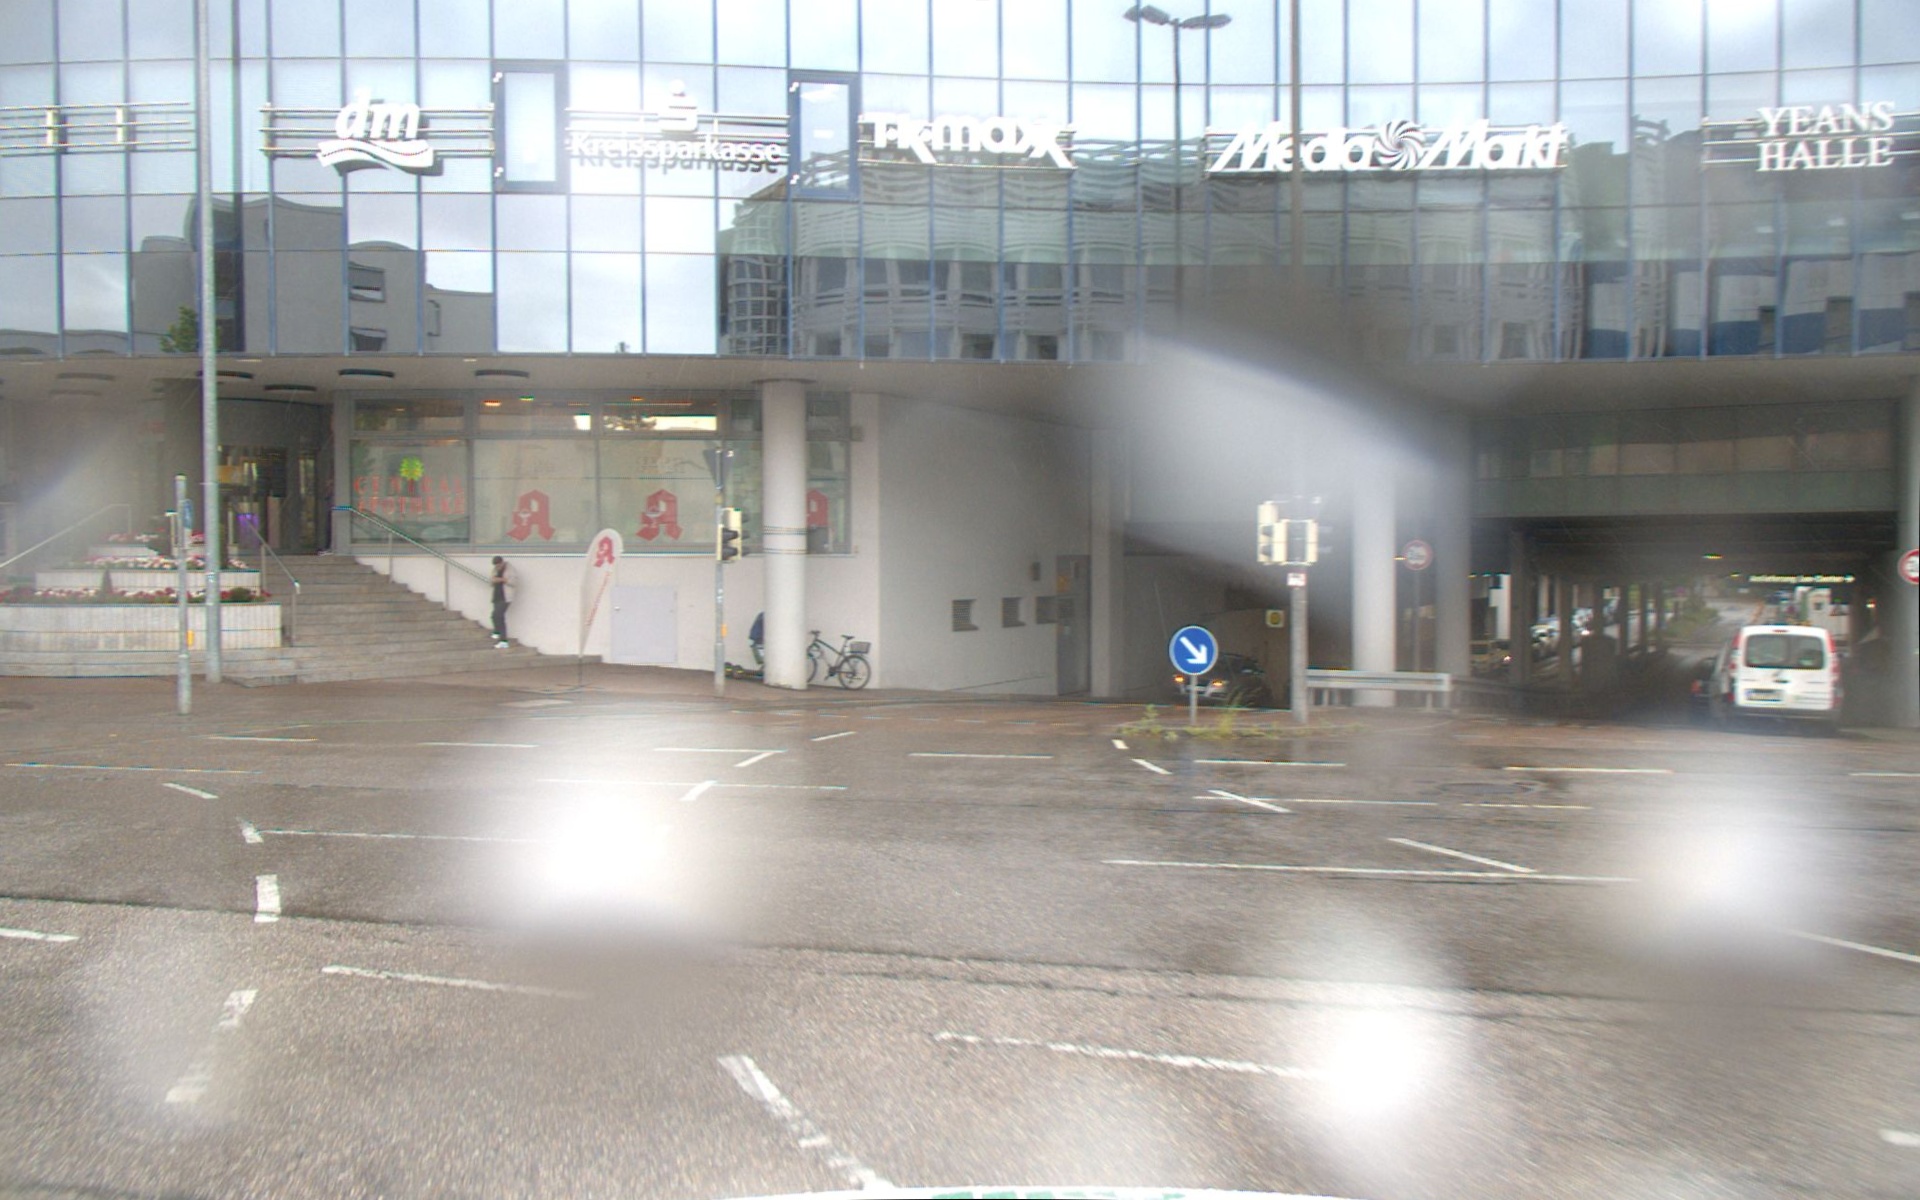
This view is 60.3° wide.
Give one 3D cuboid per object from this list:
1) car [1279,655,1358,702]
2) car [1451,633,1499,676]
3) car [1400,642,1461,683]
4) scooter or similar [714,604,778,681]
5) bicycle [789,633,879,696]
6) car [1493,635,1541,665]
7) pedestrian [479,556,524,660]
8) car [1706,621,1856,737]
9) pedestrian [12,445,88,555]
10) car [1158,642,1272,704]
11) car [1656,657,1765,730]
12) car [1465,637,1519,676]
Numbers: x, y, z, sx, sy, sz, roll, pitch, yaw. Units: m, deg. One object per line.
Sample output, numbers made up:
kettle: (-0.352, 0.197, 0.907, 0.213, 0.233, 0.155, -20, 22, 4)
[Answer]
car: (11.987, 2.588, 55.124, 1.735, 1.489, 3.872, -1, -2, 25)
car: (23.345, 2.449, 74.934, 1.798, 1.758, 4.000, 0, 0, 21)
car: (20.177, 2.656, 70.800, 1.877, 1.615, 3.936, -1, 0, 25)
scooter or similar: (-4.044, 0.800, 31.341, 1.143, 1.397, 0.489, 2, 1, -5)
bicycle: (-2.404, 1.225, 31.515, 1.559, 1.035, 0.449, 6, -1, -21)
car: (29.535, 2.628, 87.645, 1.954, 1.489, 3.997, -1, 0, 25)
pedestrian: (-8.625, 0.144, 31.117, 0.642, 1.941, 0.595, 1, 0, 2)
car: (14.040, 1.288, 28.498, 1.886, 1.829, 4.296, 0, -1, 21)
pedestrian: (-17.540, -1.921, 31.885, 0.812, 2.048, 0.953, 2, 1, 17)
car: (6.837, 1.968, 44.012, 1.855, 1.495, 4.022, 0, -4, 26)
car: (16.375, 2.023, 35.986, 1.725, 1.490, 3.933, -1, -3, 31)
car: (25.999, 2.744, 80.774, 1.954, 1.692, 3.997, 2, 1, 25)
